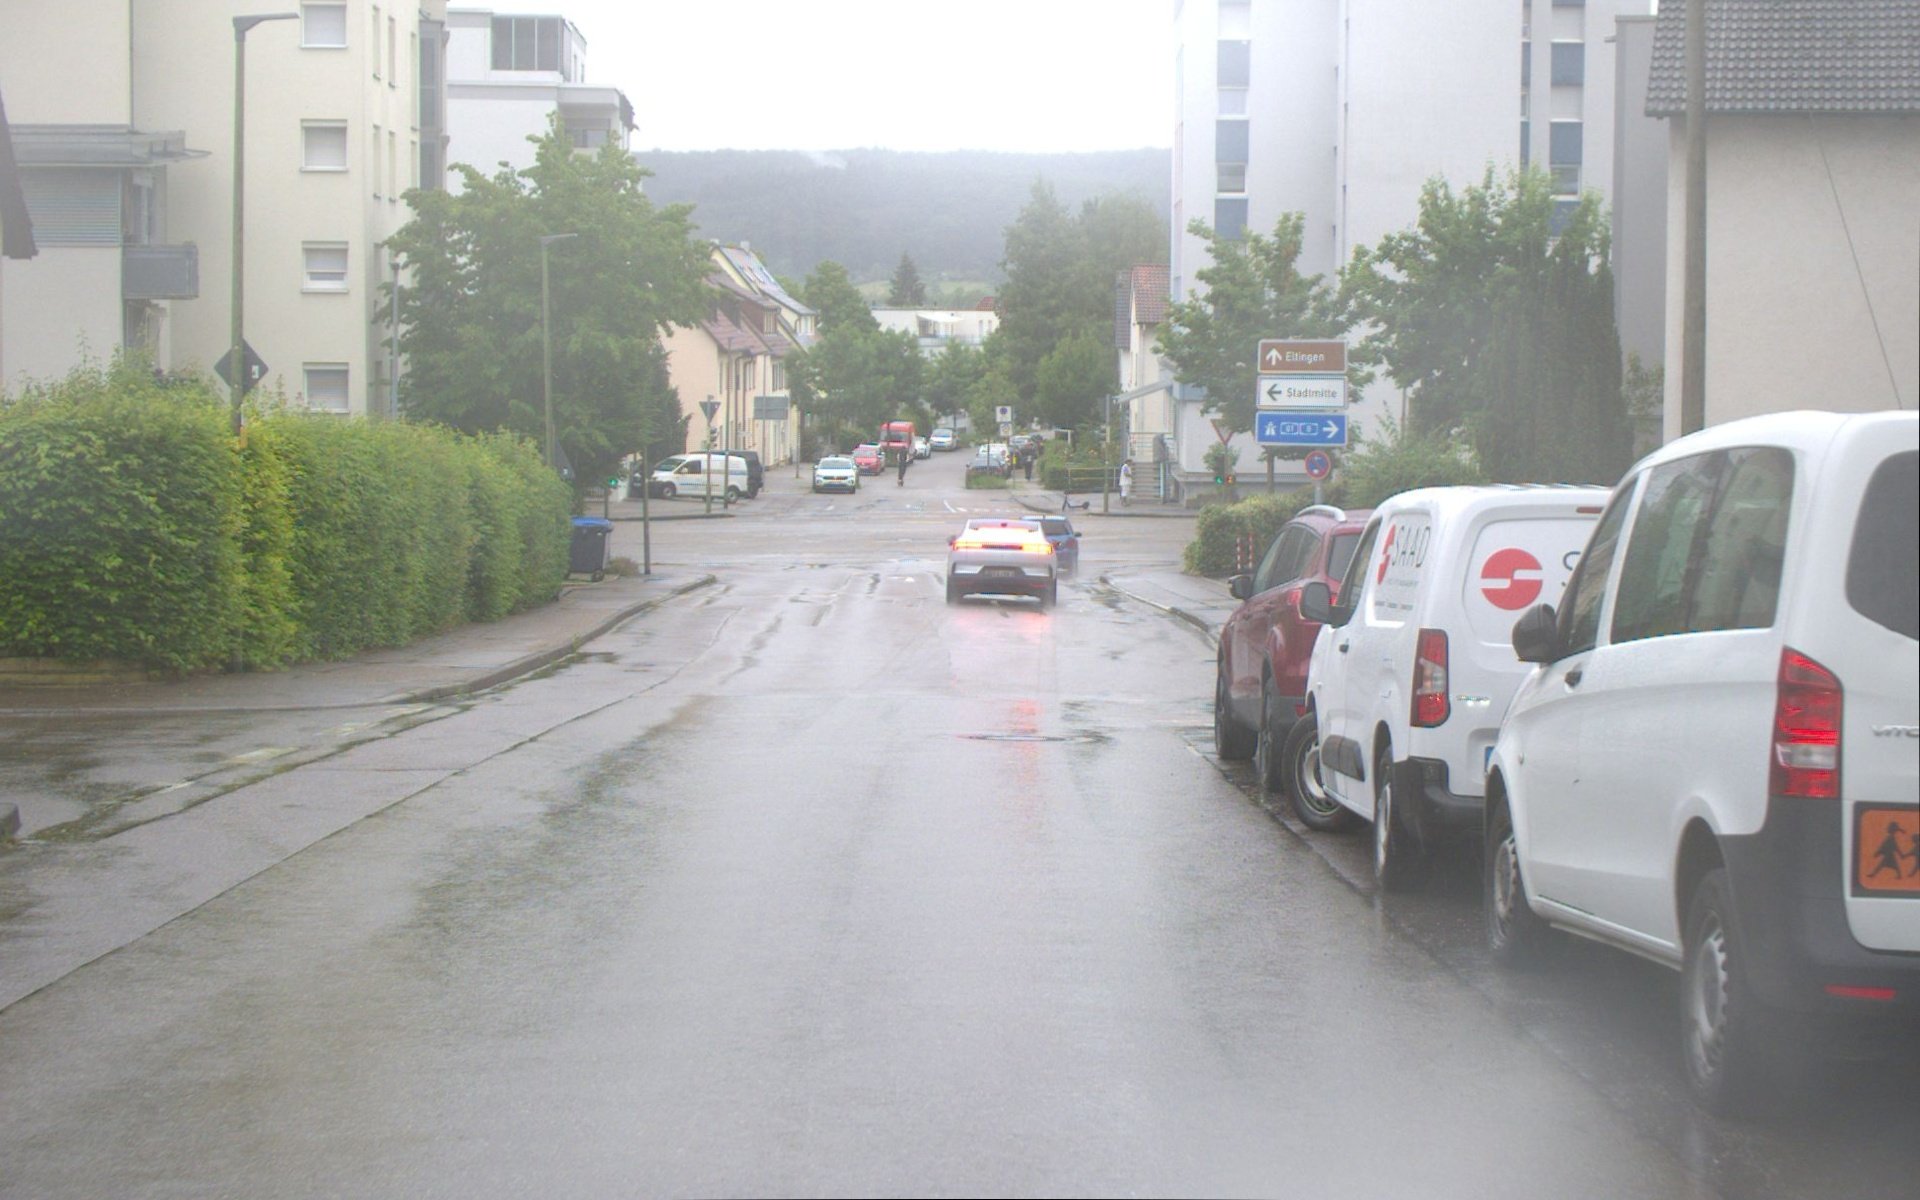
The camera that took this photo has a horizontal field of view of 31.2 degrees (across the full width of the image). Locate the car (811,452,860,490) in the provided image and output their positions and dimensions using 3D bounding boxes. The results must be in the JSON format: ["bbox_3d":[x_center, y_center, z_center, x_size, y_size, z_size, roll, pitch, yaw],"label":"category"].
[{"bbox_3d":[-5.526,-5.746,152.981,1.993,1.620,4.192,-1,3,0],"label":"car"}]

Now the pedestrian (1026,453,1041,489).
[{"bbox_3d":[3.728,-6.570,174.936,0.746,1.842,0.526,0,1,4],"label":"pedestrian"}]

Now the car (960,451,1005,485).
[{"bbox_3d":[1.088,-6.398,166.588,2.146,1.583,4.128,-1,3,0],"label":"car"}]

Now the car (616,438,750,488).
[{"bbox_3d":[-10.669,-5.294,132.562,4.830,1.829,2.000,-3,4,-38],"label":"car"}]

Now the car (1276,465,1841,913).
[{"bbox_3d":[2.651,0.305,16.302,1.878,1.827,4.489,0,2,0],"label":"car"}]

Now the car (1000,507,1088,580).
[{"bbox_3d":[2.133,-1.463,88.057,1.993,1.678,4.001,-1,3,-2],"label":"car"}]

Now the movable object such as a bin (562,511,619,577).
[{"bbox_3d":[-7.818,-1.195,72.767,1.071,1.343,1.319,2,2,-2],"label":"movable object such as a bin"}]

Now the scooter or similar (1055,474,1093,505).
[{"bbox_3d":[4.110,-3.960,123.655,1.268,1.077,0.877,-1,3,-4],"label":"scooter or similar"}]

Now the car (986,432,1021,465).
[{"bbox_3d":[2.372,-8.294,188.506,1.901,1.739,4.192,-1,3,0],"label":"car"}]

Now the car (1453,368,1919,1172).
[{"bbox_3d":[2.899,0.347,10.724,1.993,1.928,4.976,0,2,0],"label":"car"}]

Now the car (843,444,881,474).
[{"bbox_3d":[-5.390,-7.765,189.399,1.901,1.553,4.192,-1,3,0],"label":"car"}]

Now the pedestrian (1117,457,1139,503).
[{"bbox_3d":[6.092,-4.367,124.967,0.647,1.641,0.526,3,2,-6],"label":"pedestrian"}]

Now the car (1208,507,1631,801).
[{"bbox_3d":[2.751,0.236,21.733,1.993,1.638,4.959,0,2,0],"label":"car"}]

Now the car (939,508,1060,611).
[{"bbox_3d":[0.685,-0.766,62.399,1.993,1.678,4.001,-1,3,-2],"label":"car"}]
